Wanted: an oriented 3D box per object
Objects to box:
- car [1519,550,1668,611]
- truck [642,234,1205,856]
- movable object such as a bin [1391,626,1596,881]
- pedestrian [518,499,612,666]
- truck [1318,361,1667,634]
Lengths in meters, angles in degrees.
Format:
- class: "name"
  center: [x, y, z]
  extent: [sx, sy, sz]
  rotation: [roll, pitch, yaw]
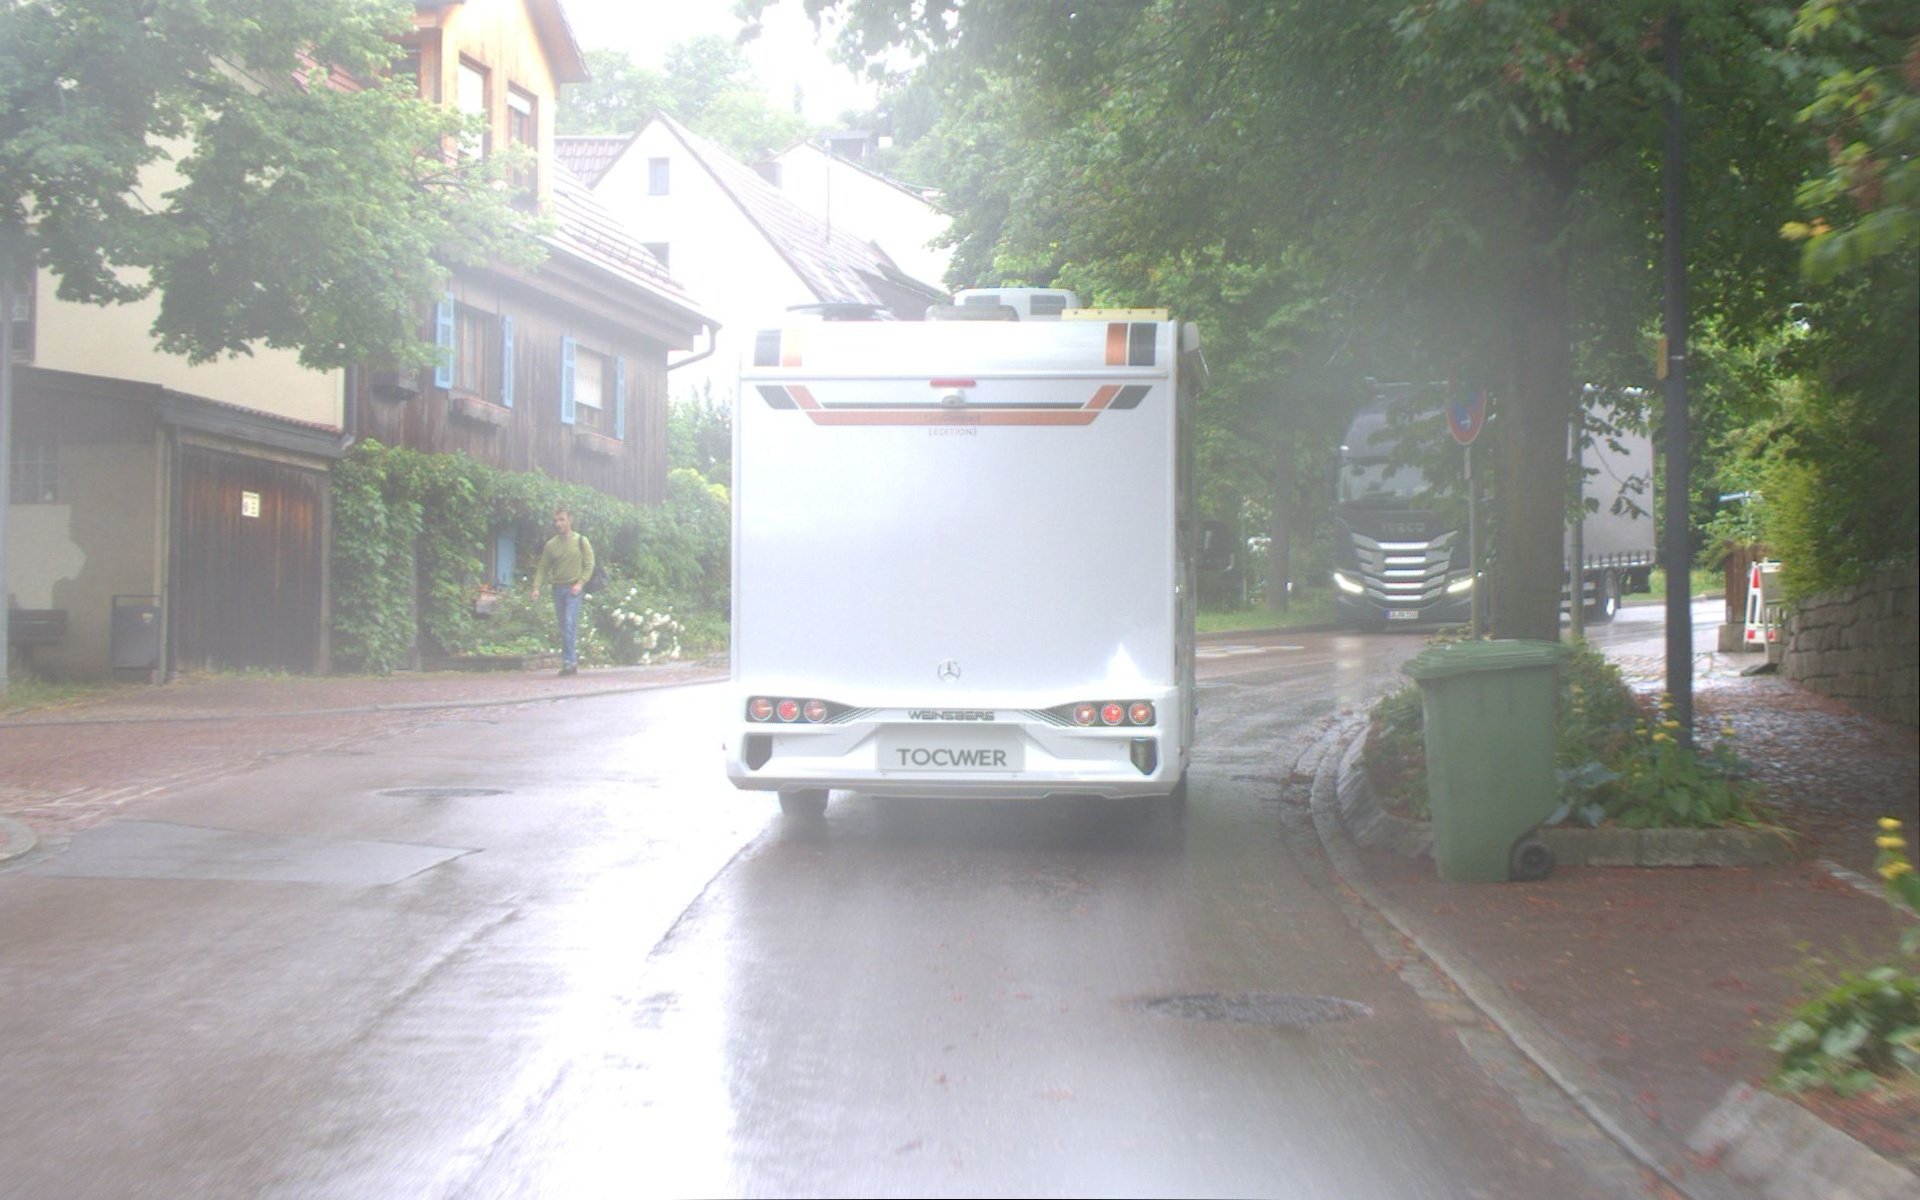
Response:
- class: "car"
  center: [18.483, -0.569, 100.479]
  extent: [3.987, 1.756, 2.000]
  rotation: [0, 0, 1]
- class: "truck"
  center: [-0.024, -0.336, 19.677]
  extent: [2.695, 2.975, 6.236]
  rotation: [0, 1, 3]
- class: "movable object such as a bin"
  center: [2.436, 0.687, 15.789]
  extent: [0.769, 1.103, 0.884]
  rotation: [-2, 0, 0]
- class: "pedestrian"
  center: [-4.484, -0.201, 39.056]
  extent: [0.794, 1.861, 0.916]
  rotation: [0, 0, 12]
- class: "truck"
  center: [9.091, -1.635, 57.448]
  extent: [2.842, 4.152, 9.962]
  rotation: [1, 1, 26]
